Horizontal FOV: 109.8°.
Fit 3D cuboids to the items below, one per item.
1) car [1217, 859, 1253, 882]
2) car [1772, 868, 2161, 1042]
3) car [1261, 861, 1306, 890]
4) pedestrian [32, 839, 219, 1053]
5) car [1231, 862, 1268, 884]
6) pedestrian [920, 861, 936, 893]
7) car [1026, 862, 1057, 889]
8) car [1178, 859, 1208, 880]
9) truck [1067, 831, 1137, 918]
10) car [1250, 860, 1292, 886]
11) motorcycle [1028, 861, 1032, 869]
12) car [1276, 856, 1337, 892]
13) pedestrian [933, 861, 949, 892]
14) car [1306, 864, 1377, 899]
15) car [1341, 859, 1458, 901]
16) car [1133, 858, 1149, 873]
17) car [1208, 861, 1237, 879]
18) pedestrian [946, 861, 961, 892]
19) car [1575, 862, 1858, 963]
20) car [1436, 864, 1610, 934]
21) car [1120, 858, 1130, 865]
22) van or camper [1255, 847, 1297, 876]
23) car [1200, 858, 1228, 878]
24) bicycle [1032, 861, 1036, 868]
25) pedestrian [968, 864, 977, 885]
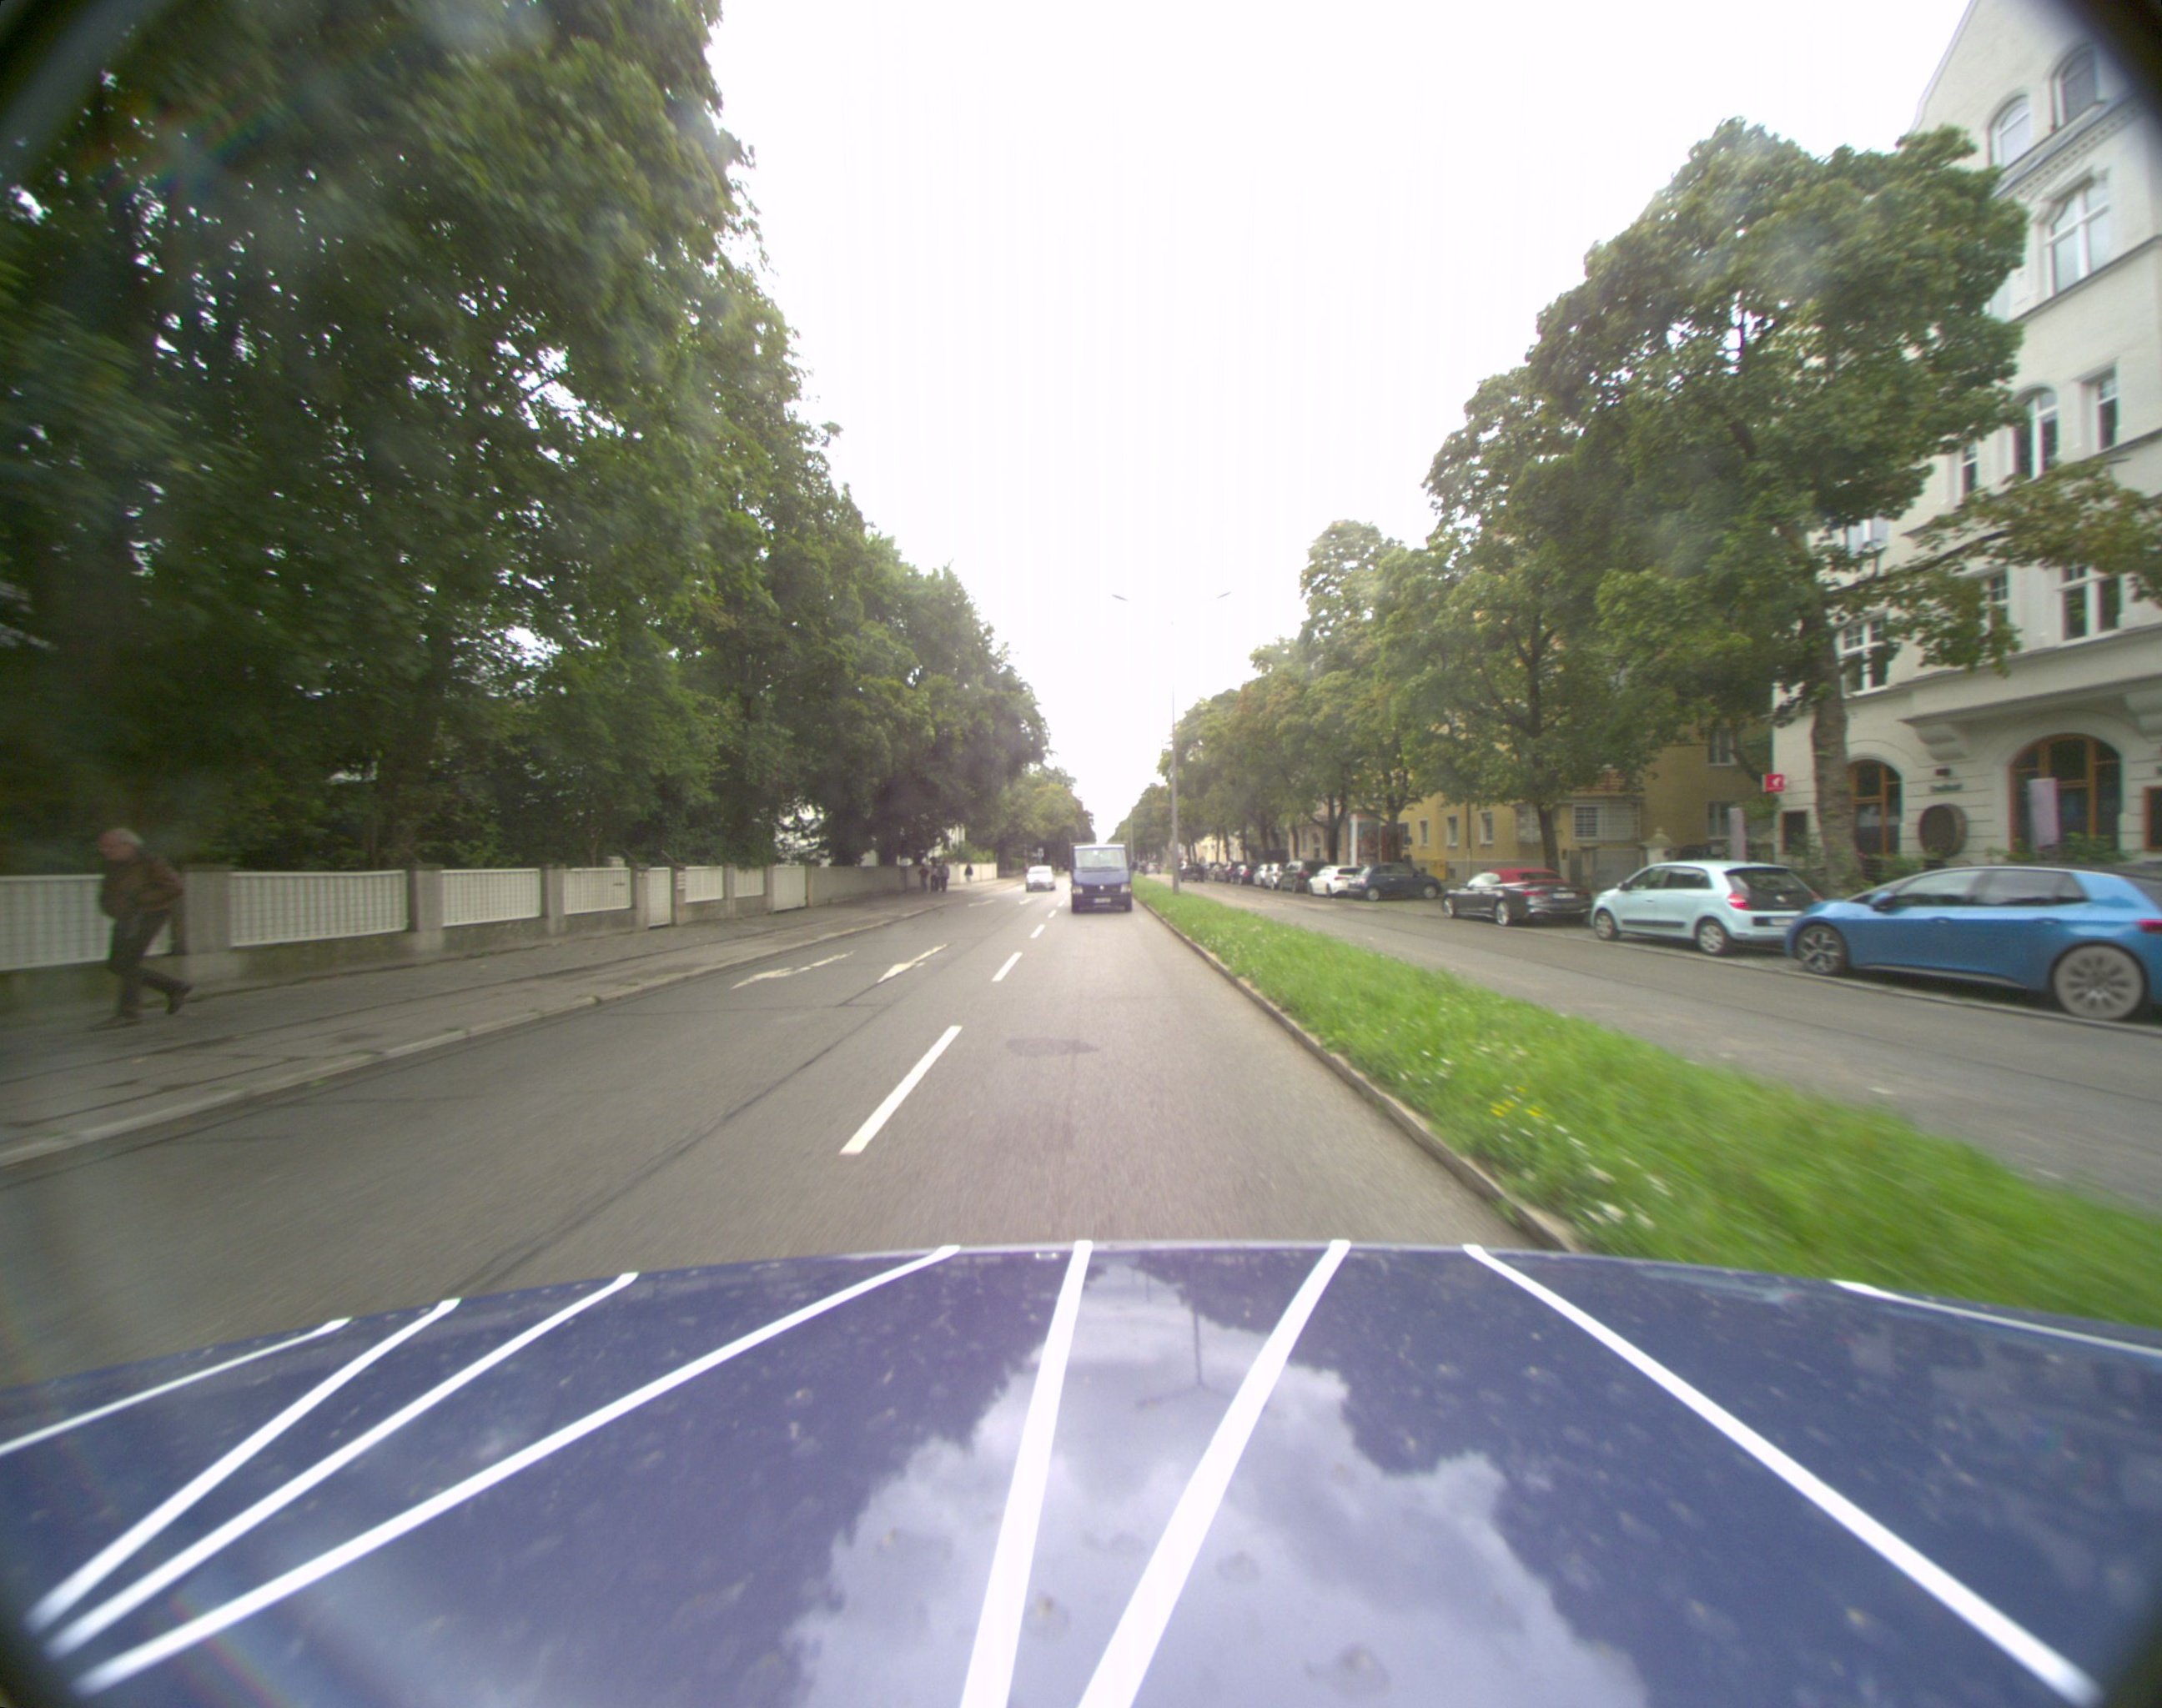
[{"bbox_3d":[11.837,1.213,58.512,1.883,1.635,4.770,-1,0,1],"label":"car"},{"bbox_3d":[10.786,0.954,8.749,1.815,1.498,4.291,-1,0,1],"label":"car"},{"bbox_3d":[11.660,1.207,43.846,1.731,1.548,3.010,-1,0,-1],"label":"car"},{"bbox_3d":[-9.092,0.830,7.269,0.779,1.931,0.802,0,0,1],"label":"pedestrian"},{"bbox_3d":[11.673,1.275,52.837,1.731,1.397,4.363,-1,0,1],"label":"car"},{"bbox_3d":[-8.428,1.258,41.907,0.668,1.695,0.766,1,0,0],"label":"pedestrian"},{"bbox_3d":[-2.360,1.264,45.938,1.647,1.553,3.586,-1,0,1],"label":"car"},{"bbox_3d":[8.917,1.219,60.577,1.879,1.575,4.621,1,0,3],"label":"car"},{"bbox_3d":[0.676,0.605,24.467,1.998,2.475,5.152,-1,0,2],"label":"truck"},{"bbox_3d":[12.008,1.183,48.272,1.731,1.552,4.057,-1,0,1],"label":"car"},{"bbox_3d":[-7.430,1.565,110.662,0.497,1.135,1.631,-1,0,-9],"label":"motorcycle"},{"bbox_3d":[11.585,0.978,39.350,1.815,1.717,4.768,-1,0,1],"label":"car"},{"bbox_3d":[-7.715,1.233,41.900,0.668,1.683,0.729,1,0,0],"label":"pedestrian"},{"bbox_3d":[11.393,1.169,33.549,1.731,1.394,4.404,-1,0,1],"label":"car"},{"bbox_3d":[12.600,1.004,30.223,3.899,1.455,1.732,-2,0,0],"label":"car"},{"bbox_3d":[7.248,1.388,92.064,1.774,1.669,4.369,1,0,1],"label":"car"},{"bbox_3d":[11.963,1.358,64.581,1.696,1.446,4.493,-1,0,1],"label":"car"},{"bbox_3d":[-7.026,1.230,41.908,0.668,1.712,0.729,1,0,0],"label":"pedestrian"},{"bbox_3d":[11.001,0.913,13.603,1.815,1.498,3.961,-1,0,1],"label":"car"},{"bbox_3d":[10.988,1.033,19.361,1.815,1.498,4.646,-1,0,1],"label":"car"},{"bbox_3d":[9.204,1.608,158.936,1.815,1.498,4.324,1,0,1],"label":"car"},{"bbox_3d":[18.481,0.719,72.340,2.351,2.564,6.852,-1,0,1],"label":"van or camper"},{"bbox_3d":[12.157,1.261,69.873,1.878,1.677,4.439,-1,0,1],"label":"car"},{"bbox_3d":[-7.326,1.635,118.192,0.490,1.092,1.631,-1,0,-9],"label":"bicycle"},{"bbox_3d":[-8.181,1.528,57.480,0.529,1.572,0.729,1,0,0],"label":"pedestrian"}]
